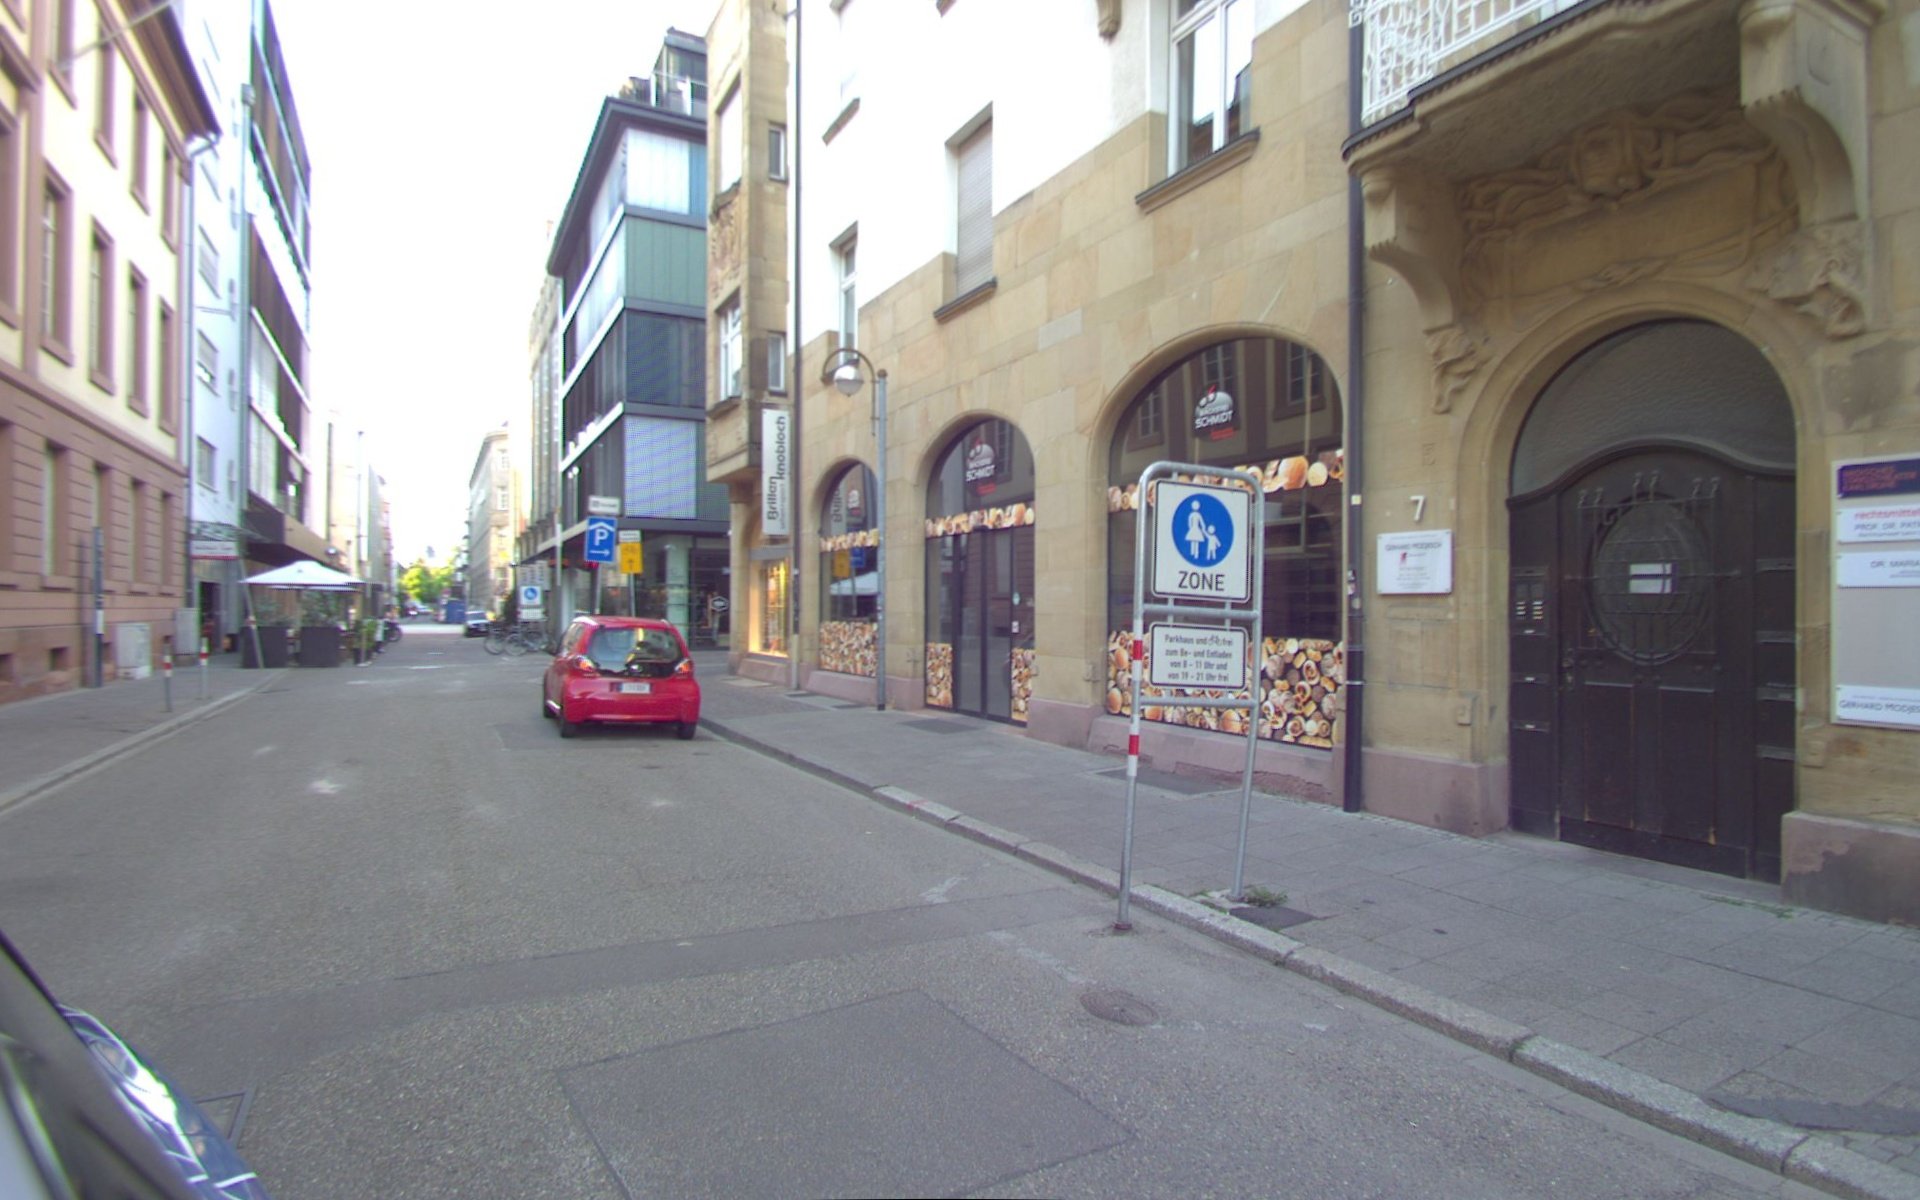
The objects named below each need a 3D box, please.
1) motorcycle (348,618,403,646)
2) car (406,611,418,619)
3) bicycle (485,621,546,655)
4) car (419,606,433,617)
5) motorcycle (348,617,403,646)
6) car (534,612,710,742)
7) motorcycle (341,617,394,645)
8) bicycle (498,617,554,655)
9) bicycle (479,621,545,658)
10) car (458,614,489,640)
[{"bbox_3d":[-26.997,1.481,46.781,2.156,1.292,0.653,2,-1,-26],"label":"motorcycle"},{"bbox_3d":[-69.784,1.913,128.895,1.402,1.104,3.574,0,-1,-28],"label":"car"},{"bbox_3d":[-15.516,1.328,35.321,1.920,1.139,0.528,0,-1,-27],"label":"bicycle"},{"bbox_3d":[-62.076,1.361,117.660,1.402,1.310,3.574,0,-1,-28],"label":"car"},{"bbox_3d":[-27.492,1.491,47.613,2.156,1.292,0.653,2,-1,-26],"label":"motorcycle"},{"bbox_3d":[-4.468,0.931,13.108,1.610,1.452,3.167,4,-3,-27],"label":"car"},{"bbox_3d":[-28.647,1.511,48.957,2.156,1.292,0.653,2,-1,-26],"label":"motorcycle"},{"bbox_3d":[-13.549,1.120,31.610,1.580,1.127,0.622,0,-1,-27],"label":"bicycle"},{"bbox_3d":[-14.515,1.264,32.771,1.920,1.139,0.622,0,-1,-27],"label":"bicycle"},{"bbox_3d":[-27.323,1.485,56.804,1.402,1.428,3.907,0,-1,-28],"label":"car"}]
